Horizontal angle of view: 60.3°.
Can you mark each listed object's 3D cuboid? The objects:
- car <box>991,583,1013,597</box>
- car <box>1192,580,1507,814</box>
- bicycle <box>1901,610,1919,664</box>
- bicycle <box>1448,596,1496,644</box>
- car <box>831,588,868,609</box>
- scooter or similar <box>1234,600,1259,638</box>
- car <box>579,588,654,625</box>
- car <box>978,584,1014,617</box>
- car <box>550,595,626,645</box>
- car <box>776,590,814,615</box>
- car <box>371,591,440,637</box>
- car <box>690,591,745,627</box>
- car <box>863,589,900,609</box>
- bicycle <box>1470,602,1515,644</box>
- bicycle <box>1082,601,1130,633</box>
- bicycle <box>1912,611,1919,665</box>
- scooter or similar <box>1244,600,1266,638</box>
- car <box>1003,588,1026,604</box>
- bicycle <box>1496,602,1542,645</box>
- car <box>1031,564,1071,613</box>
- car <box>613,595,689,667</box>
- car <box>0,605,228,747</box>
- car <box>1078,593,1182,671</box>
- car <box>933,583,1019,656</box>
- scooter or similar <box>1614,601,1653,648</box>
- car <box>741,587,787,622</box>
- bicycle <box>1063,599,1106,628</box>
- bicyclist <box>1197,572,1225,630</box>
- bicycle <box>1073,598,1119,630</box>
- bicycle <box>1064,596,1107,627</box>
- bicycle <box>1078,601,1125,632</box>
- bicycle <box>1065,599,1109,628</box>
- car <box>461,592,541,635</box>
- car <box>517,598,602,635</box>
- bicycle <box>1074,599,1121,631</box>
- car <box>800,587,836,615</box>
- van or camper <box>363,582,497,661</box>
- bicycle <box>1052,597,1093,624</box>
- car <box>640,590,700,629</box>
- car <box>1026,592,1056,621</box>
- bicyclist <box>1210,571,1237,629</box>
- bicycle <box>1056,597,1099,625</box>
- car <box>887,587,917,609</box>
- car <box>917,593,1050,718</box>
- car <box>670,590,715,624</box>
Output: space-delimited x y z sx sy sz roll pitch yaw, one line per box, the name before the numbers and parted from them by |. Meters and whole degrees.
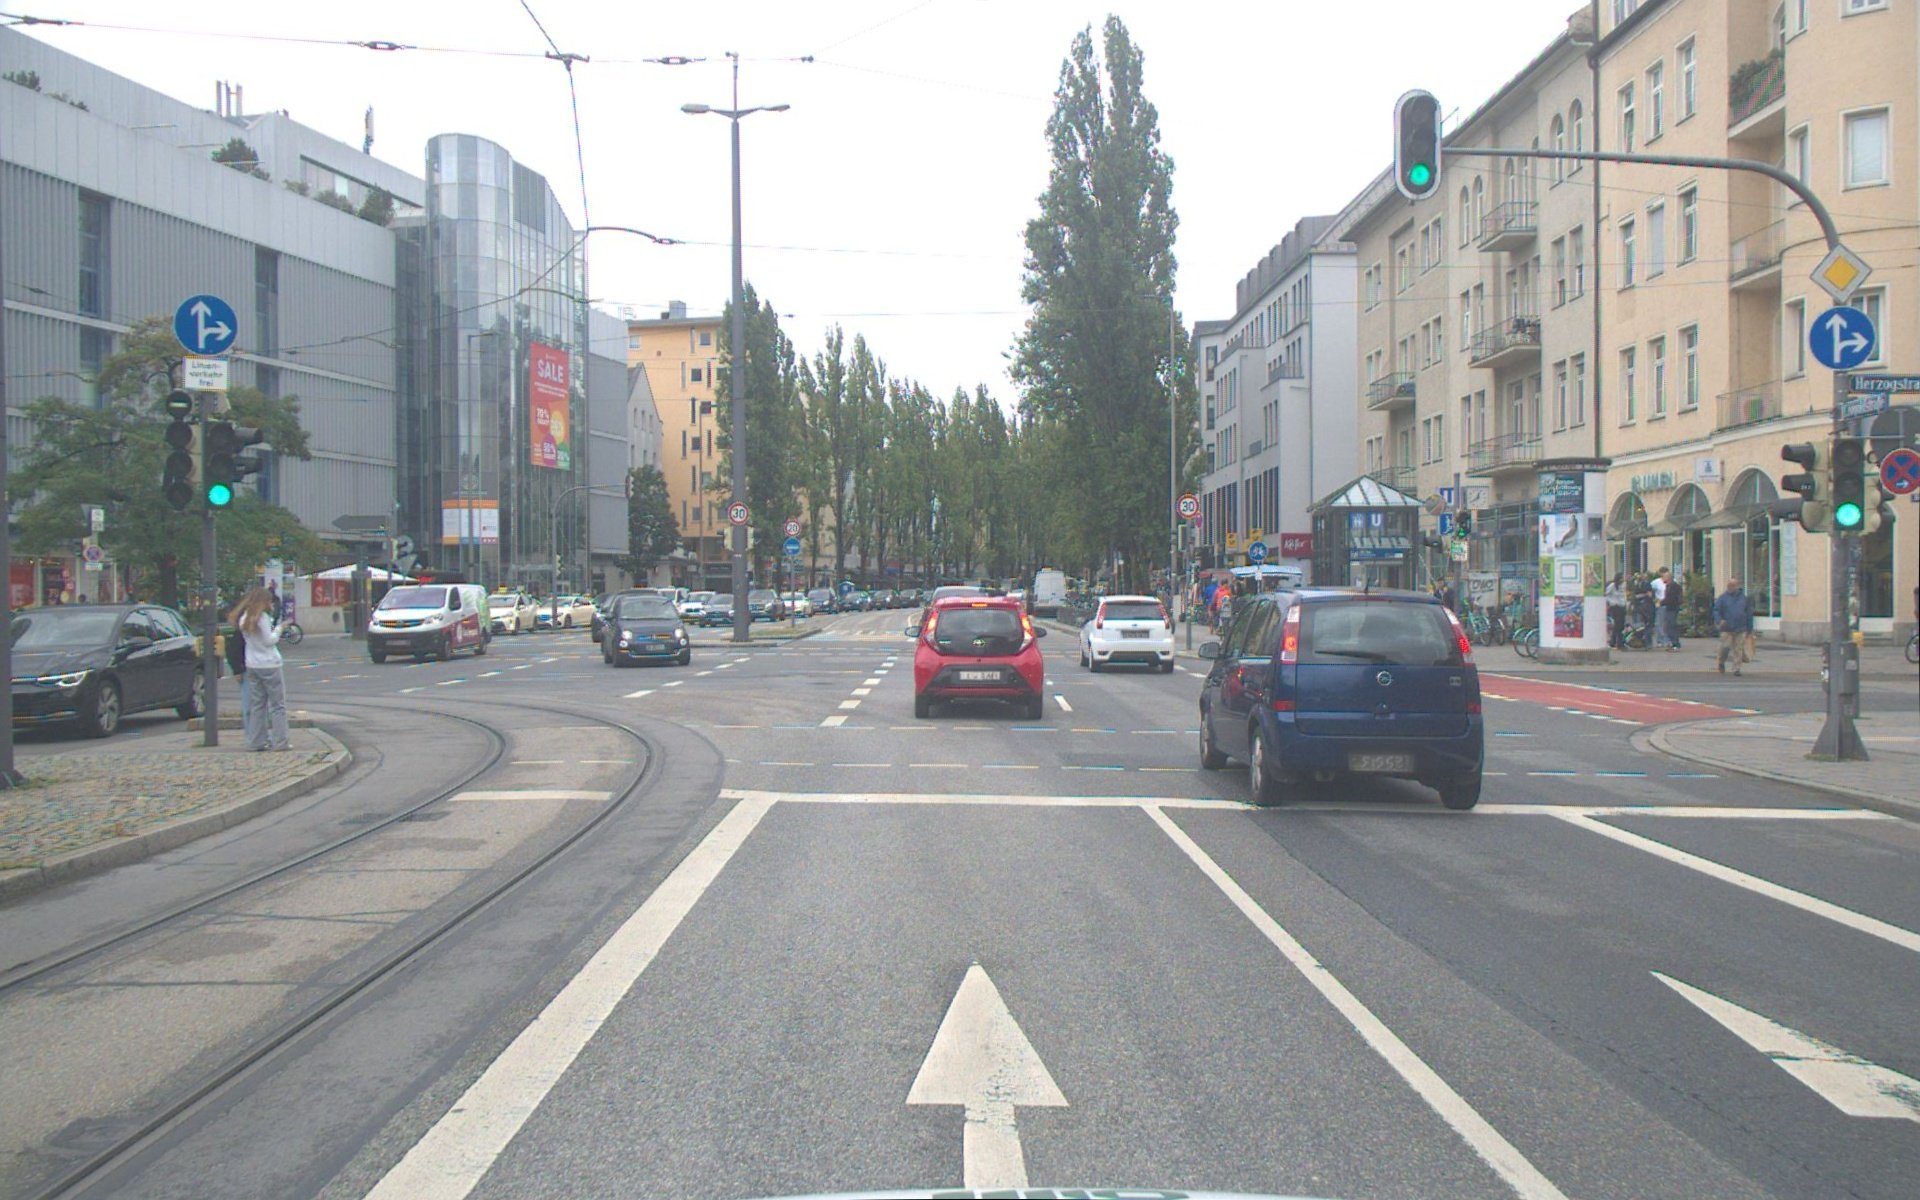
car | 5.081 -1.223 199.741 1.951 1.721 4.418 -1 0 12
car | 2.971 0.671 13.321 1.668 1.617 3.556 1 0 0
bicycle | 19.467 0.727 32.927 1.552 1.051 0.247 -1 0 -15
bicycle | 12.543 0.478 40.563 0.555 1.127 1.866 -1 0 -1
car | -7.907 -0.087 118.997 1.805 1.407 4.604 0 -1 7
scooter or similar | 9.264 0.599 53.384 0.357 1.196 1.345 -1 0 29
car | -16.163 0.297 77.971 1.951 1.708 4.187 0 0 12
car | 2.043 0.029 95.281 1.953 1.870 3.999 0 0 -1
car | -11.953 0.609 53.339 1.631 1.535 4.280 0 0 -2
car | -9.475 0.133 95.385 1.729 1.446 4.639 0 0 0
car | -20.491 0.478 61.269 1.959 1.563 4.400 -2 1 -13
car | -10.692 0.389 73.093 1.954 1.436 4.166 2 0 -3
car | -6.134 -0.108 129.479 1.951 1.561 4.591 0 0 9
bicycle | 13.035 0.544 40.550 0.484 0.992 1.866 -1 0 0
bicycle | 5.275 0.597 59.835 1.772 1.130 0.559 0 0 42
bicycle | 19.550 0.731 32.674 1.552 1.051 0.247 -1 0 -15
scooter or similar | 9.457 0.605 53.022 0.294 1.196 1.275 -1 0 29
car | 6.286 -0.487 190.457 1.951 1.721 4.418 -1 0 12
bicycle | 13.700 0.564 40.562 0.484 0.992 1.866 -1 0 0
car | 5.252 -0.661 95.673 2.063 2.766 4.804 0 0 0
car | -6.798 0.641 36.162 1.518 1.471 3.528 0 0 -12
car | -10.179 0.803 19.224 1.807 1.441 4.031 0 0 -5
car | 3.327 0.591 32.902 1.665 1.451 3.496 0 0 -1
car | 0.326 0.438 39.533 1.953 1.646 3.999 0 0 -1
scooter or similar | 15.110 0.549 37.100 0.803 1.011 0.593 0 3 22
car | -10.059 0.226 85.114 1.707 1.699 4.733 -1 1 1
bicycle | 5.143 0.543 68.273 1.805 1.156 0.583 0 0 43
bicyclist | 8.336 0.036 54.893 0.747 1.902 1.133 -1 0 0
bicycle | 5.206 0.530 63.372 1.805 1.218 0.583 0 0 43
bicycle | 5.227 0.489 68.940 1.805 1.263 0.583 0 0 43
bicycle | 5.233 0.589 61.262 1.773 1.130 0.583 0 0 42
bicycle | 5.168 0.540 67.512 1.805 1.156 0.583 0 0 43
car | -17.965 0.502 64.903 1.862 1.570 4.393 -1 1 0
car | -17.341 0.694 71.848 1.951 1.534 4.638 0 0 8
bicycle | 5.186 0.551 62.590 1.805 1.188 0.583 0 0 43
car | -9.090 0.066 106.093 1.896 1.769 4.588 0 0 0
van or camper | -13.410 0.503 42.211 1.889 1.858 5.438 0 0 -3
bicycle | 5.032 0.460 73.928 1.801 1.156 0.584 0 0 36
car | -15.678 0.475 89.658 1.952 2.049 5.526 0 0 4
car | 4.962 0.385 101.920 1.668 1.691 3.556 0 0 0
bicyclist | 7.773 -0.016 48.801 0.601 1.686 1.251 -1 0 0
bicycle | 5.052 0.473 71.198 1.801 1.156 0.584 0 0 36
car | -4.820 -0.147 138.672 1.951 1.721 4.924 0 -1 5
car | 0.292 0.654 21.257 1.572 1.487 3.130 0 0 0
car | -13.207 0.325 81.822 1.664 1.624 3.999 0 0 -2
